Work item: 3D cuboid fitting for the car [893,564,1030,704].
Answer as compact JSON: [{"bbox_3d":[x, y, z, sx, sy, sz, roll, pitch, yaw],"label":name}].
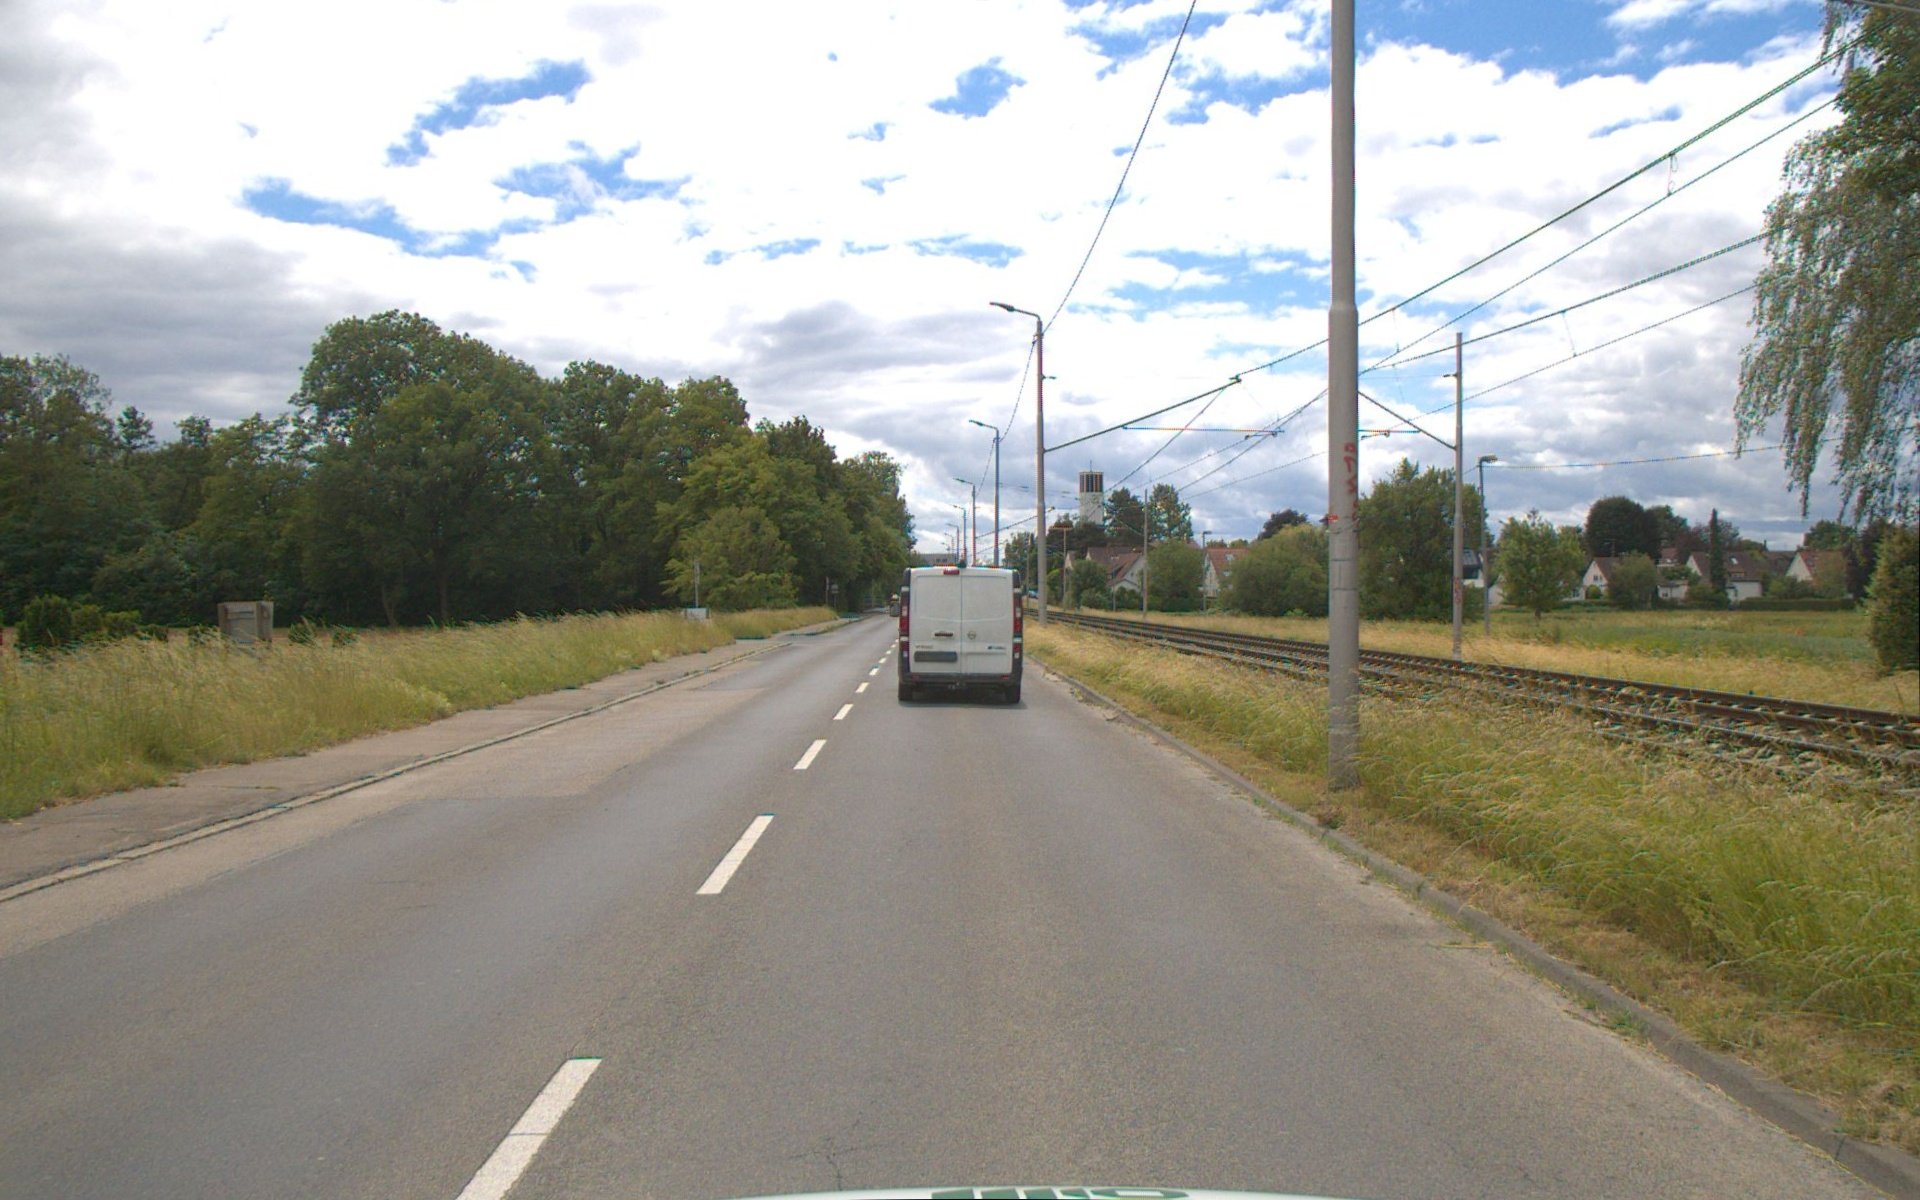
[{"bbox_3d":[-0.048,0.491,25.465,1.953,1.991,3.998,0,0,-2],"label":"car"}]
